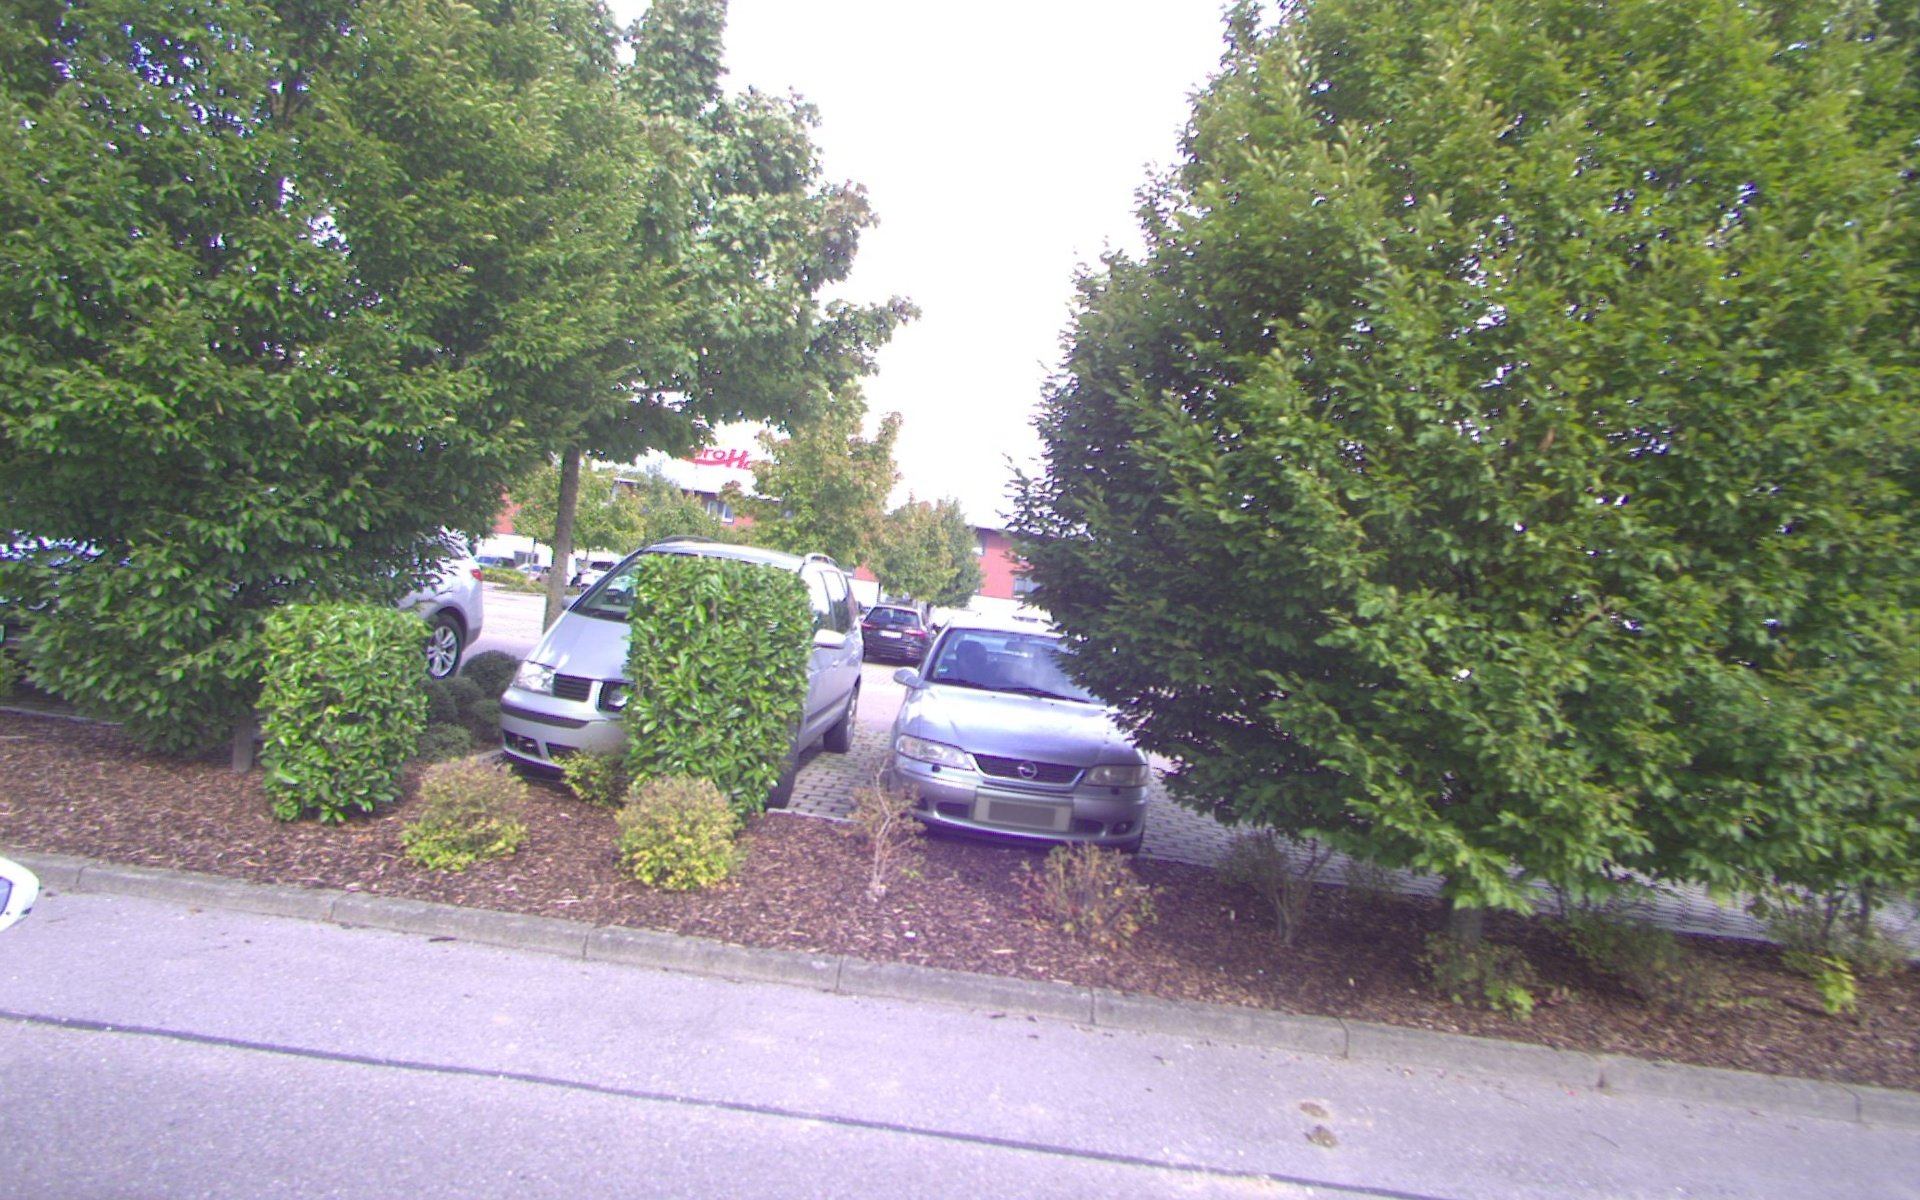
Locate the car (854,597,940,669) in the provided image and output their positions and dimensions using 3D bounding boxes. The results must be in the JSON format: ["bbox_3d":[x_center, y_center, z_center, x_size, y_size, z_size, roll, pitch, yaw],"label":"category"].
[{"bbox_3d":[-1.482,0.814,25.127,1.689,1.444,4.278,7,-1,1],"label":"car"}]

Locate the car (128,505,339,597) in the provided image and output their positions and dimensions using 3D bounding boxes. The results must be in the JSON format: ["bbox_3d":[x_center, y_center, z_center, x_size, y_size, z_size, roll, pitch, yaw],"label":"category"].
[{"bbox_3d":[-14.392,-0.906,20.172,1.599,1.367,3.374,7,-1,1],"label":"car"}]

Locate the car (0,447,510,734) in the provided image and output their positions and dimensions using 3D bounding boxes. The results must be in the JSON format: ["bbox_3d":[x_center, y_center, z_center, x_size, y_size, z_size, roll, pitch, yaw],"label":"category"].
[{"bbox_3d":[-6.095,-0.100,8.684,1.882,1.717,4.680,7,0,4],"label":"car"}]

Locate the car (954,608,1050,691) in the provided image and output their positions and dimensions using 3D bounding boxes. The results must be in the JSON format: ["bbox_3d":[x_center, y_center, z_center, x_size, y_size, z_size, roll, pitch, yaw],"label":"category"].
[{"bbox_3d":[1.016,1.171,24.500,1.963,1.589,4.003,8,-1,2],"label":"car"}]

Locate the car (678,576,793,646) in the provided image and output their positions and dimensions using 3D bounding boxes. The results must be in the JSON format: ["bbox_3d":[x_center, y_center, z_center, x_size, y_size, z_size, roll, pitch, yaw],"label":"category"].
[{"bbox_3d":[-5.439,0.305,24.947,1.689,1.361,4.278,7,-1,1],"label":"car"}]

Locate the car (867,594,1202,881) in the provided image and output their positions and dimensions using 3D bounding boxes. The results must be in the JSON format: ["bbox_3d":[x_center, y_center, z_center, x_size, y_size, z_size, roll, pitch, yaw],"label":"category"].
[{"bbox_3d":[0.386,0.807,7.536,1.694,1.365,4.001,8,-1,-1],"label":"car"}]

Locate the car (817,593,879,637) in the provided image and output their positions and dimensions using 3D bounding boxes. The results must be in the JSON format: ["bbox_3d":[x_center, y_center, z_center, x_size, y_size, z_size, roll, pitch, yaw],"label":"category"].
[{"bbox_3d":[-4.527,0.643,41.196,1.626,1.502,4.248,7,-1,4],"label":"car"}]

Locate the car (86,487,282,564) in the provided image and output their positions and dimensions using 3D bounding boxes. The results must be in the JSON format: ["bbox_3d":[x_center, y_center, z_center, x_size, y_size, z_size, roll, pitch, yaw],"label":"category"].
[{"bbox_3d":[-25.762,-2.455,33.491,4.985,1.731,1.751,8,-1,0],"label":"car"}]

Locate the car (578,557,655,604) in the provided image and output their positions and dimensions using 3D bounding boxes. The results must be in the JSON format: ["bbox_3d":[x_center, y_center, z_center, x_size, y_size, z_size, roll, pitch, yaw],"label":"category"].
[{"bbox_3d":[-13.750,-0.722,40.462,1.791,1.517,3.845,8,-1,-3],"label":"car"}]

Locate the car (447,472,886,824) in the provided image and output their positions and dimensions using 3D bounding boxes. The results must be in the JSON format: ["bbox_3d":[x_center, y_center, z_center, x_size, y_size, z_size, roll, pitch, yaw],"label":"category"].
[{"bbox_3d":[-1.796,0.335,7.742,1.626,1.736,4.367,7,-1,4],"label":"car"}]
